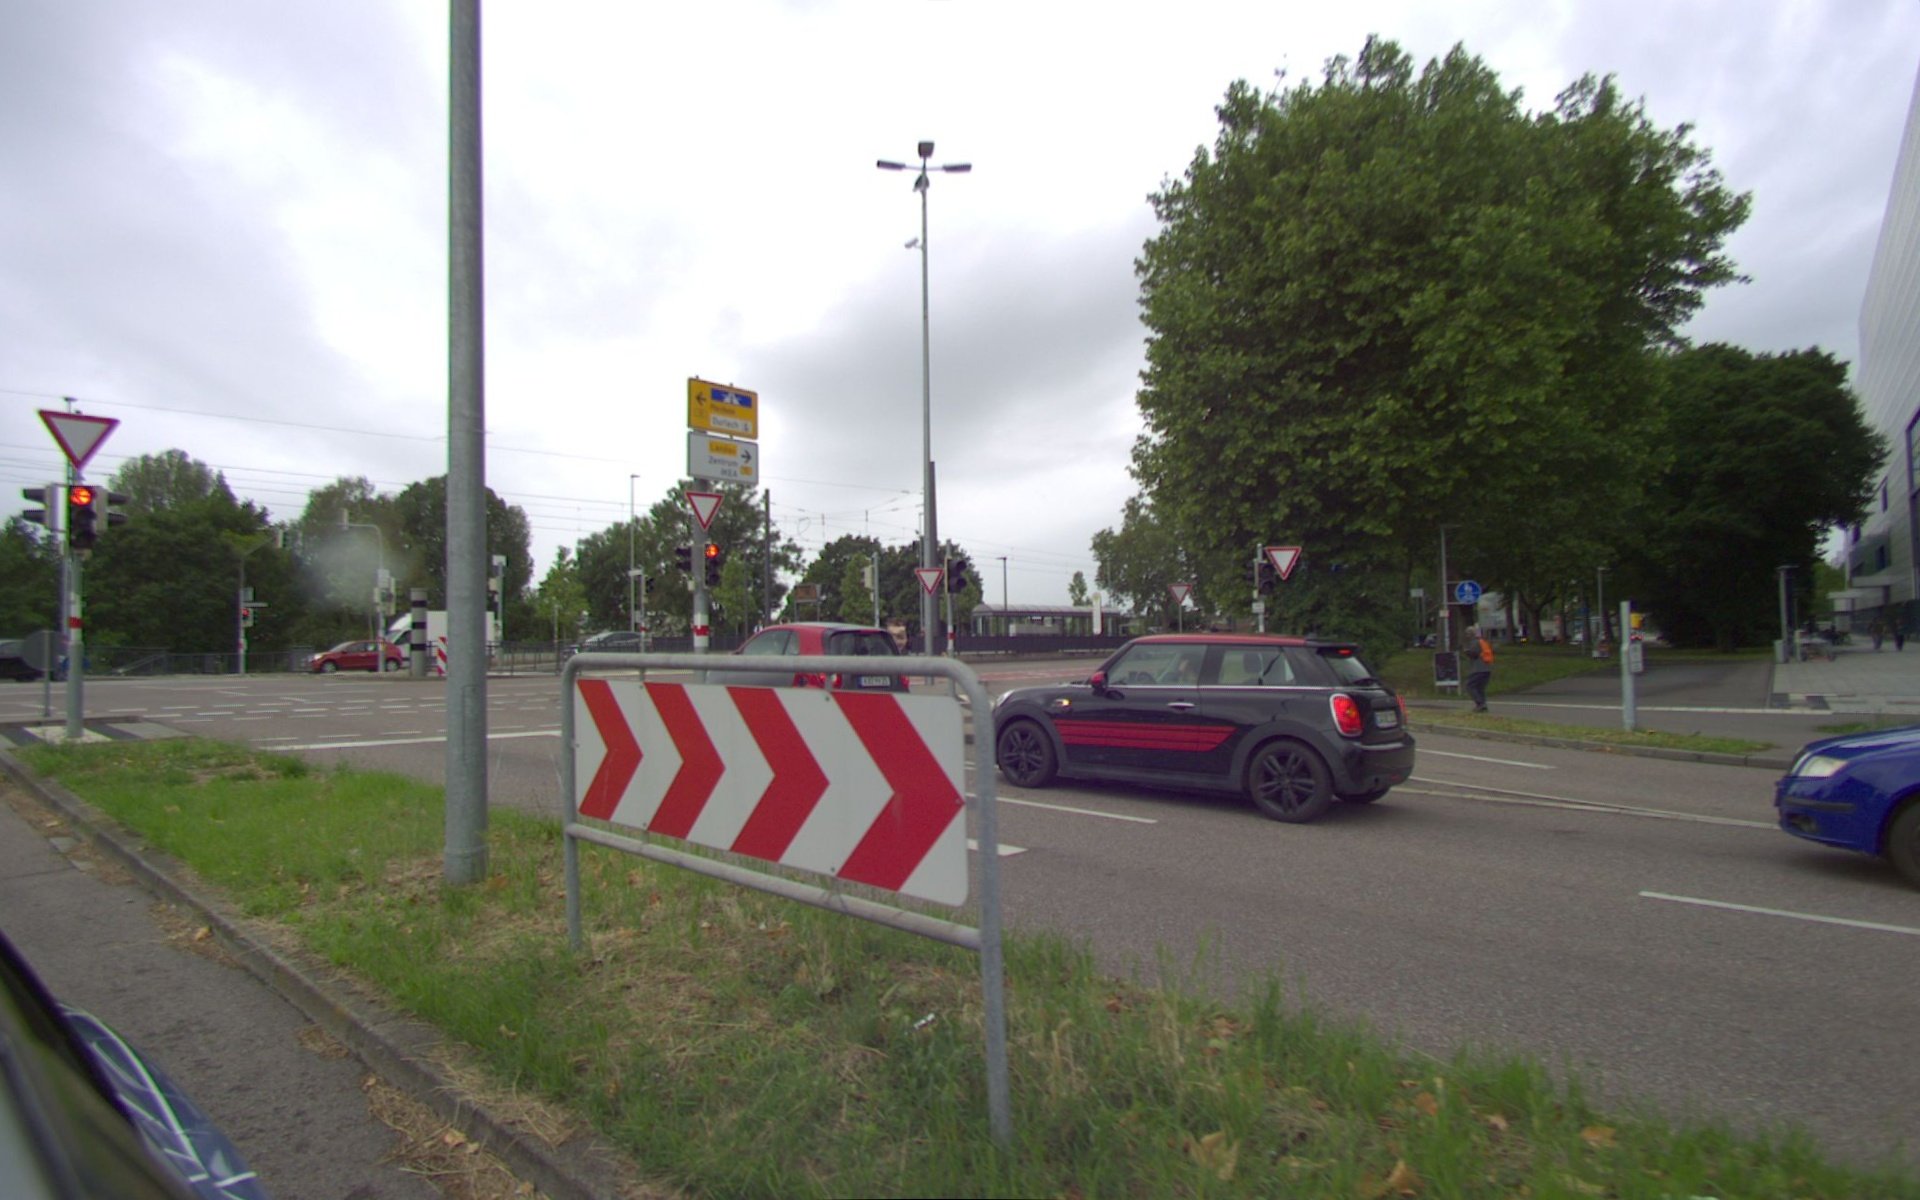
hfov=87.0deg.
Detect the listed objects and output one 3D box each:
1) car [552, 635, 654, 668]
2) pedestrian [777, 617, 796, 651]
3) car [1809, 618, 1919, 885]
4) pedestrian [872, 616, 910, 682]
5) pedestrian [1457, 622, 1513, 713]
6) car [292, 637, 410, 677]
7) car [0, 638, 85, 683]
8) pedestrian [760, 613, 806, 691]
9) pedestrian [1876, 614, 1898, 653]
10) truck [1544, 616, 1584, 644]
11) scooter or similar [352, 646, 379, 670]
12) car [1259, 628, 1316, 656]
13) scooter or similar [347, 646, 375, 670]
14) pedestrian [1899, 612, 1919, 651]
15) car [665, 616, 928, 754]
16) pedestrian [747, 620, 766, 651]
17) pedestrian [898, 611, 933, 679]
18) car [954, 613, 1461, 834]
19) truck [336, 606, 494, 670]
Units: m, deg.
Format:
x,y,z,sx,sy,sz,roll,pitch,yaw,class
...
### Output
x,y,z,sx,sy,sz,roll,pitch,yaw,class
-16.978,2.437,48.298,1.676,1.419,4.313,-5,-4,40,car
-9.245,1.799,53.981,0.788,1.755,0.578,-5,-4,43,pedestrian
6.986,0.843,5.081,4.141,1.455,1.586,-1,-4,41,car
-1.835,1.282,26.959,0.666,1.725,0.766,1,-2,-45,pedestrian
9.907,1.257,19.102,0.808,1.655,0.627,1,0,39,pedestrian
-27.291,2.543,45.441,1.783,1.664,4.191,-5,-5,40,car
-30.967,1.956,32.217,1.985,1.401,4.315,-3,-4,19,car
-4.171,1.222,23.901,0.686,1.778,0.656,3,-2,39,pedestrian
50.050,1.804,54.645,0.742,2.029,0.659,-5,-4,41,pedestrian
82.656,4.070,138.392,3.259,3.691,9.766,0,-2,39,truck
-31.533,3.072,53.701,1.137,1.252,0.392,2,-3,-42,scooter or similar
20.112,2.532,62.039,1.892,1.598,4.352,-1,-2,39,car
-31.443,3.040,53.126,1.137,1.252,0.478,2,-3,-43,scooter or similar
50.757,1.697,54.049,0.742,2.029,0.659,-5,-4,41,pedestrian
-2.118,1.001,12.776,3.207,1.514,1.586,-2,-3,40,car
-10.507,1.830,52.125,0.711,1.572,0.623,-5,-4,43,pedestrian
-1.214,1.202,27.429,0.664,1.811,0.768,1,-1,-27,pedestrian
2.014,0.925,8.949,4.063,1.514,1.644,-1,-4,41,car
-27.257,1.917,50.878,2.826,2.946,6.457,-5,-4,39,truck
